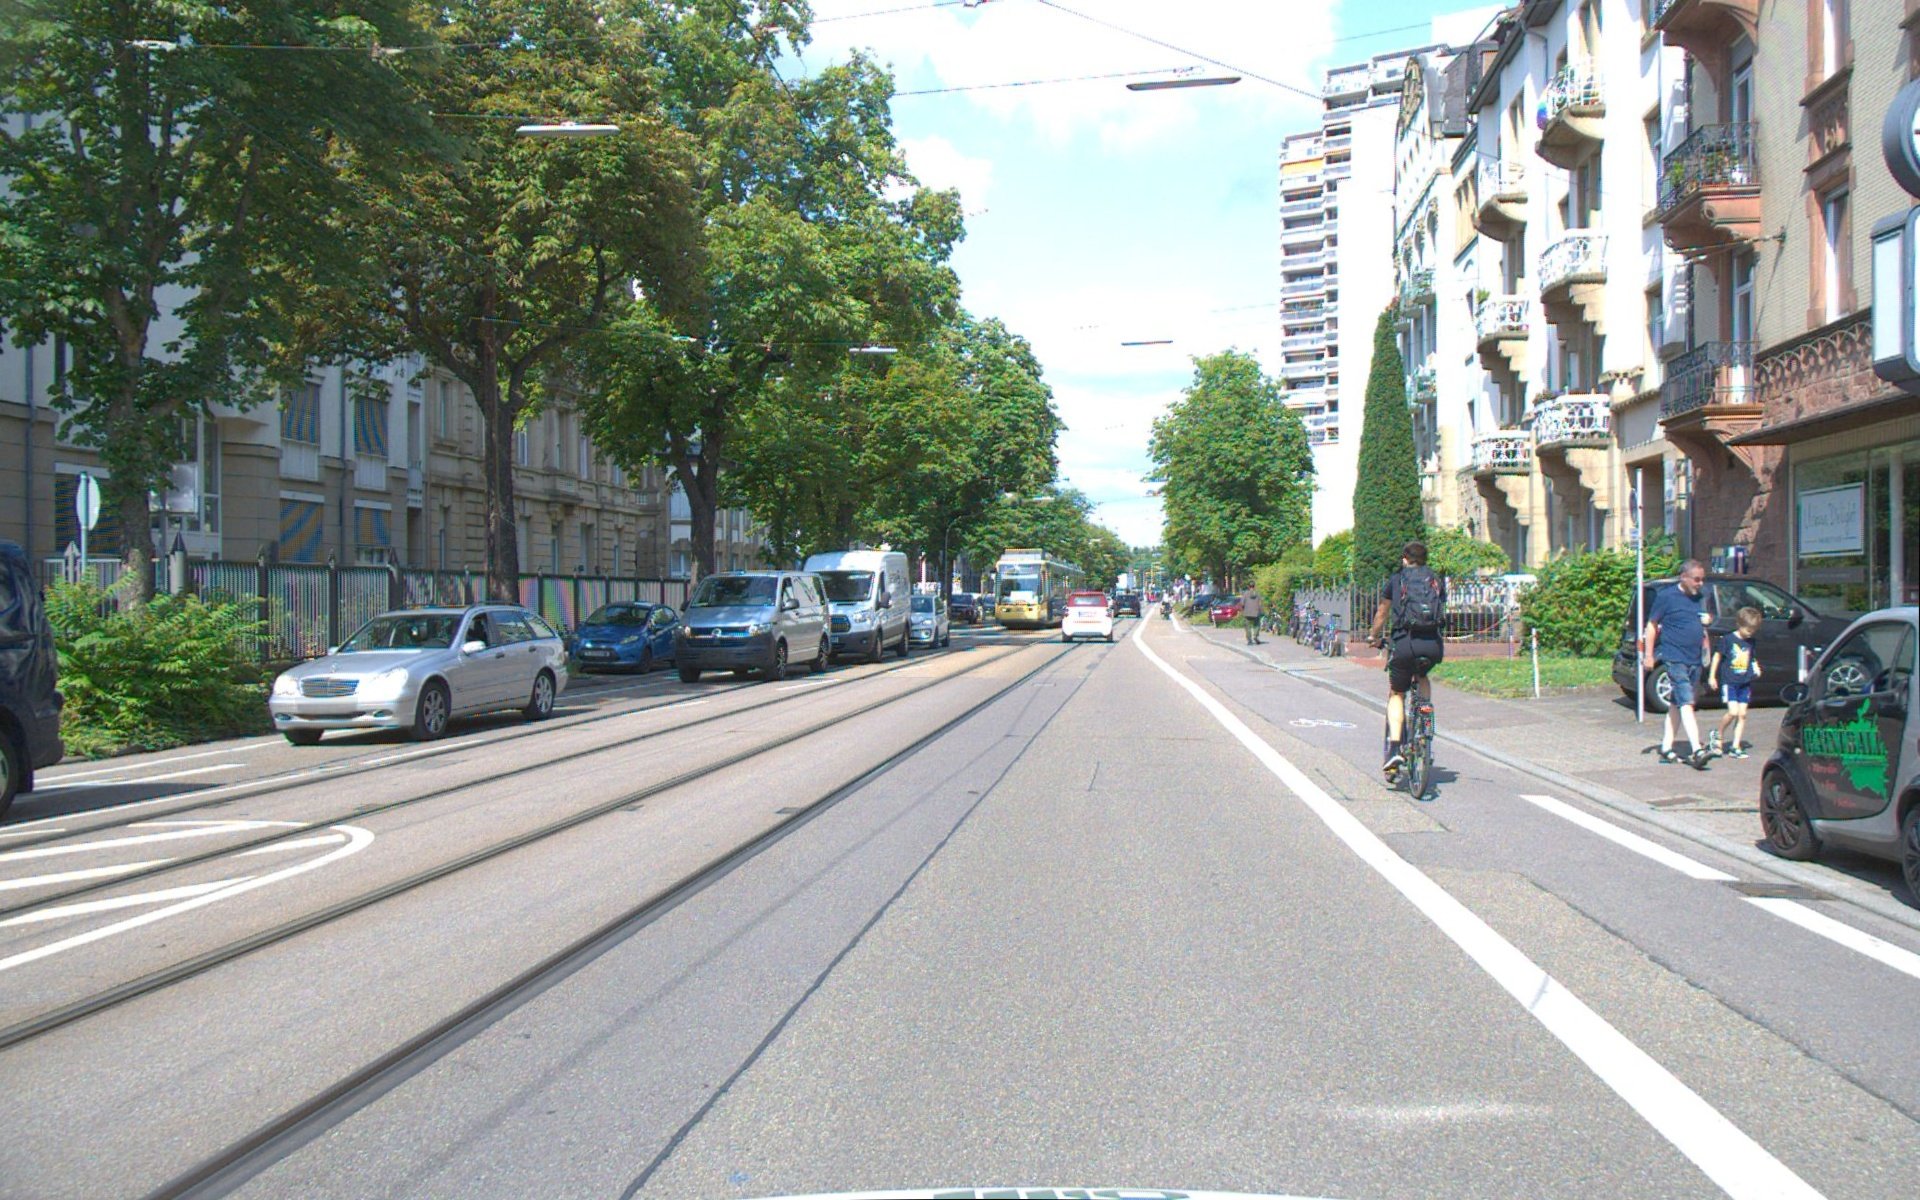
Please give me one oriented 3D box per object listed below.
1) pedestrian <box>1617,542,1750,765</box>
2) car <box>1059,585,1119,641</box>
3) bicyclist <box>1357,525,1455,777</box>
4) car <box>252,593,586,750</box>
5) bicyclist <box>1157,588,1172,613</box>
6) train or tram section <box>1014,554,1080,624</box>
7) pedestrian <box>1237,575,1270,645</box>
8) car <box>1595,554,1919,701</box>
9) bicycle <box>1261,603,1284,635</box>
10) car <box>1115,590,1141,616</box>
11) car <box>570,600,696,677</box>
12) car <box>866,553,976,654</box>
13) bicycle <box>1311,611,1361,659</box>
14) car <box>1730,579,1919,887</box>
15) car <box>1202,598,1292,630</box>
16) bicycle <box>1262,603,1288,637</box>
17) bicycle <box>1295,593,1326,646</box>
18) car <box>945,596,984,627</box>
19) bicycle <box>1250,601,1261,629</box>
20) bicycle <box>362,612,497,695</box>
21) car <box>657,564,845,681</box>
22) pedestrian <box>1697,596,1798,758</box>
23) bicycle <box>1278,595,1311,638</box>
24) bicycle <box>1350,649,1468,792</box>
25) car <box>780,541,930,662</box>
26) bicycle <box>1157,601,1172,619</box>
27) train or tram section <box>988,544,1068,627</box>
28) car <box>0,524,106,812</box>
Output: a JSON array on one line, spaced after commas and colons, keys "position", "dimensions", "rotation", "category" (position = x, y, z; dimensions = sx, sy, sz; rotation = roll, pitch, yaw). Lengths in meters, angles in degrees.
[{"position": [6.416, 0.462, 14.704], "dimensions": [0.646, 1.873, 0.873], "rotation": [-4, 0, -1], "category": "pedestrian"}, {"position": [4.077, 0.396, 51.811], "dimensions": [1.630, 1.653, 3.623], "rotation": [1, 0, 8], "category": "car"}, {"position": [3.667, 0.405, 13.664], "dimensions": [0.594, 1.982, 1.131], "rotation": [1, -1, 7], "category": "bicyclist"}, {"position": [-6.093, 0.741, 19.270], "dimensions": [1.656, 1.506, 4.486], "rotation": [-3, 0, 11], "category": "car"}, {"position": [12.826, 0.003, 103.588], "dimensions": [0.871, 1.555, 1.086], "rotation": [-1, 0, 8], "category": "bicyclist"}, {"position": [4.785, -0.488, 89.195], "dimensions": [2.596, 3.448, 11.481], "rotation": [-2, -1, 7], "category": "train or tram section"}, {"position": [8.022, 0.264, 45.238], "dimensions": [0.771, 1.894, 0.580], "rotation": [0, -1, 0], "category": "pedestrian"}, {"position": [9.607, 0.319, 19.815], "dimensions": [3.329, 1.550, 1.973], "rotation": [-3, -1, 9], "category": "car"}, {"position": [10.537, 0.638, 55.812], "dimensions": [0.599, 1.006, 1.873], "rotation": [-2, -1, 6], "category": "bicycle"}, {"position": [11.252, 0.200, 110.539], "dimensions": [1.630, 1.653, 3.623], "rotation": [-1, 0, 7], "category": "car"}, {"position": [-7.079, 0.814, 36.202], "dimensions": [1.516, 1.545, 4.088], "rotation": [1, 0, 6], "category": "car"}, {"position": [-0.977, 0.094, 45.654], "dimensions": [2.267, 2.551, 6.367], "rotation": [-1, 0, 6], "category": "car"}, {"position": [8.462, 0.764, 37.327], "dimensions": [0.586, 0.977, 3.068], "rotation": [-4, 0, 4], "category": "bicycle"}, {"position": [5.654, 0.656, 9.264], "dimensions": [1.482, 1.525, 2.796], "rotation": [-3, 0, 5], "category": "car"}, {"position": [13.483, 0.657, 77.737], "dimensions": [4.113, 1.448, 1.843], "rotation": [-1, -1, -36], "category": "car"}, {"position": [10.178, 0.642, 53.437], "dimensions": [0.597, 1.013, 2.364], "rotation": [-3, -1, 6], "category": "bicycle"}, {"position": [8.758, 0.469, 41.383], "dimensions": [0.441, 1.283, 1.845], "rotation": [-3, 0, 4], "category": "bicycle"}, {"position": [0.286, 0.675, 96.335], "dimensions": [1.713, 1.694, 4.724], "rotation": [1, 0, 6], "category": "car"}, {"position": [12.152, 0.619, 68.062], "dimensions": [0.273, 1.128, 2.012], "rotation": [-4, -1, 7], "category": "bicycle"}, {"position": [-8.786, 0.880, 27.419], "dimensions": [2.032, 1.332, 0.613], "rotation": [1, -1, -35], "category": "bicycle"}, {"position": [-3.767, 0.394, 30.853], "dimensions": [1.944, 1.997, 5.184], "rotation": [-1, 0, 11], "category": "car"}, {"position": [6.917, 0.666, 14.541], "dimensions": [0.558, 1.348, 0.442], "rotation": [-5, 0, -1], "category": "pedestrian"}, {"position": [10.089, 0.498, 49.952], "dimensions": [0.724, 1.252, 2.518], "rotation": [-1, -1, 6], "category": "bicycle"}, {"position": [3.686, 0.968, 13.704], "dimensions": [0.603, 1.063, 1.837], "rotation": [-4, -3, 7], "category": "bicycle"}, {"position": [-2.309, -0.009, 38.418], "dimensions": [2.266, 2.551, 6.369], "rotation": [-1, 1, 7], "category": "car"}, {"position": [12.793, 0.619, 103.422], "dimensions": [0.856, 1.145, 2.138], "rotation": [-1, 0, 8], "category": "bicycle"}, {"position": [3.325, -0.568, 77.483], "dimensions": [2.596, 3.496, 12.324], "rotation": [-2, -1, 7], "category": "train or tram section"}, {"position": [-7.629, 0.487, 9.838], "dimensions": [1.886, 1.950, 5.127], "rotation": [-2, -1, 8], "category": "car"}]
